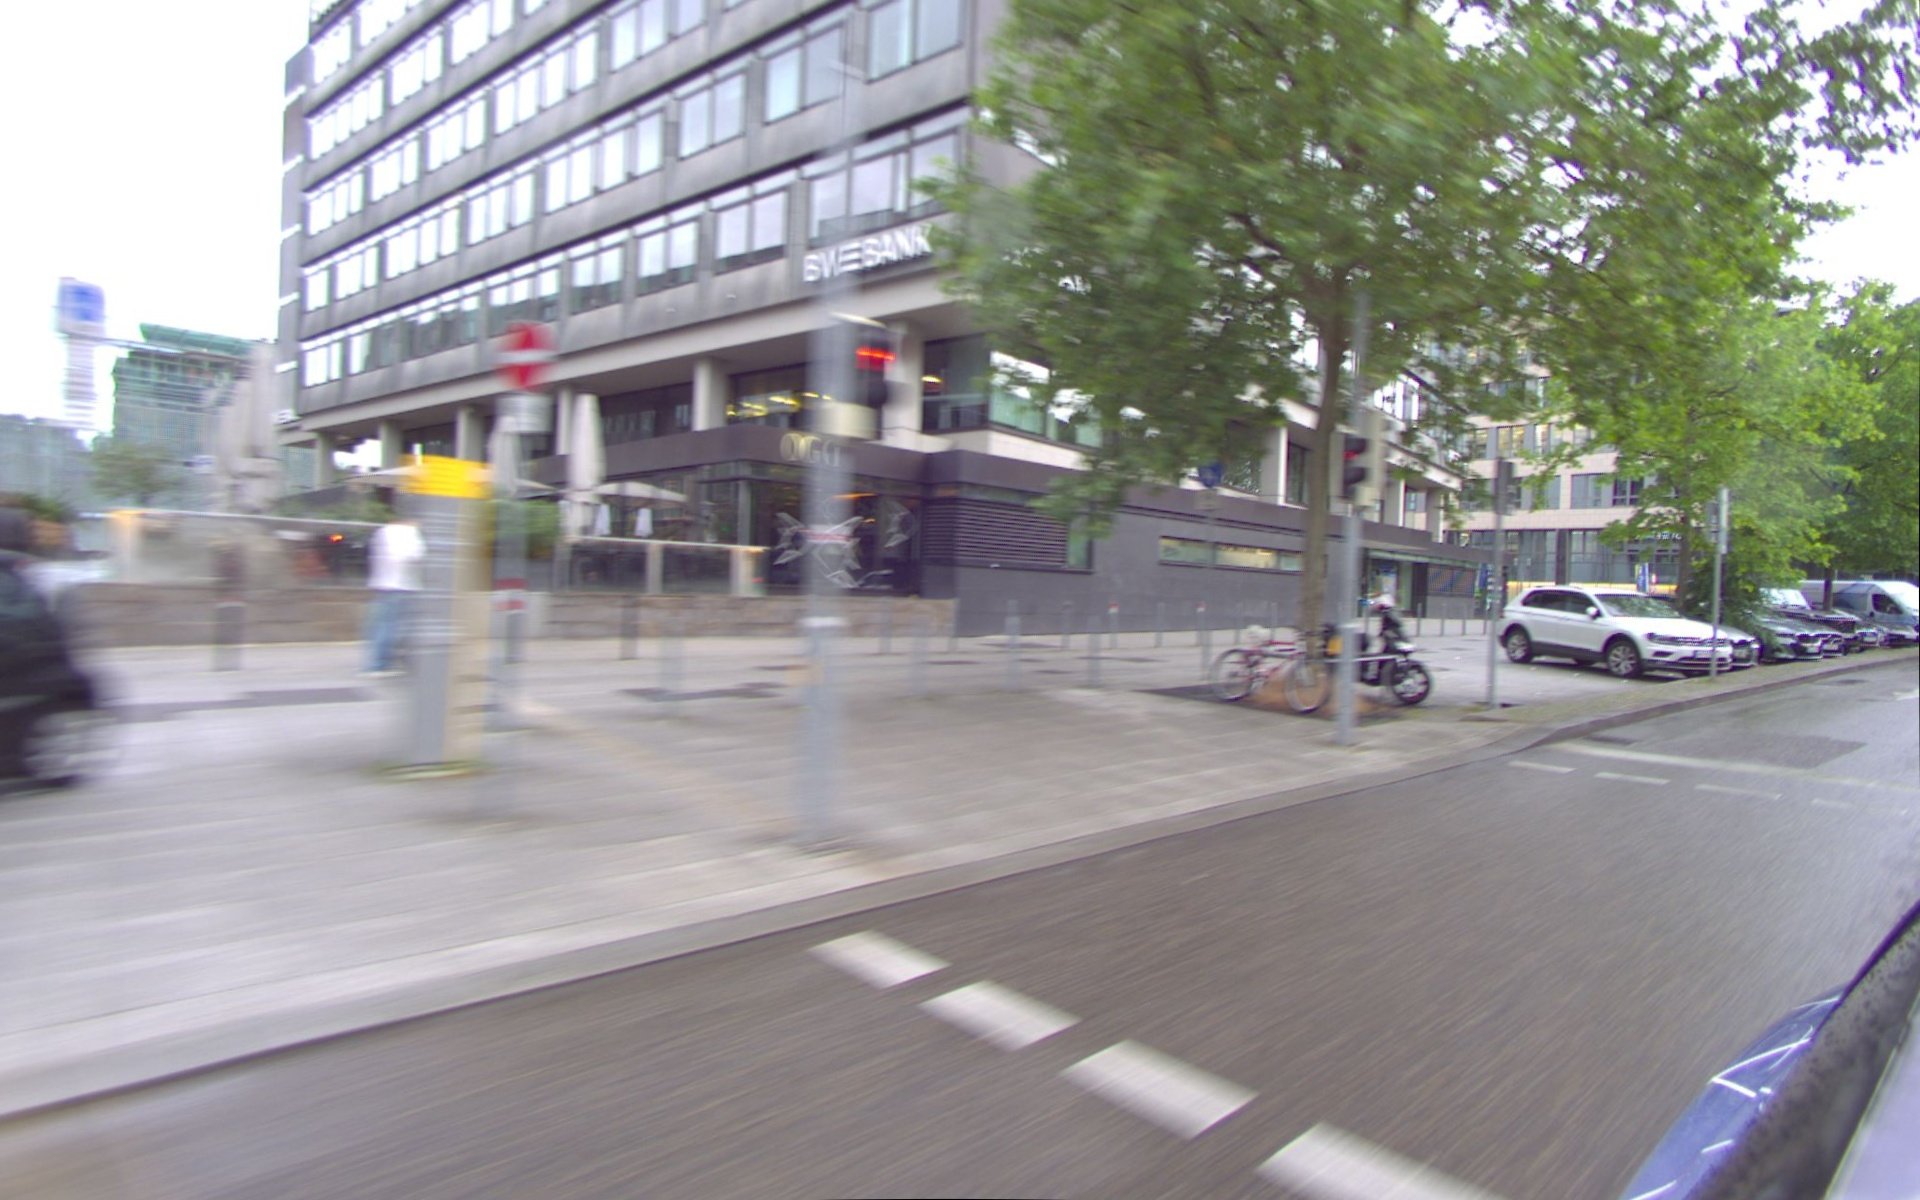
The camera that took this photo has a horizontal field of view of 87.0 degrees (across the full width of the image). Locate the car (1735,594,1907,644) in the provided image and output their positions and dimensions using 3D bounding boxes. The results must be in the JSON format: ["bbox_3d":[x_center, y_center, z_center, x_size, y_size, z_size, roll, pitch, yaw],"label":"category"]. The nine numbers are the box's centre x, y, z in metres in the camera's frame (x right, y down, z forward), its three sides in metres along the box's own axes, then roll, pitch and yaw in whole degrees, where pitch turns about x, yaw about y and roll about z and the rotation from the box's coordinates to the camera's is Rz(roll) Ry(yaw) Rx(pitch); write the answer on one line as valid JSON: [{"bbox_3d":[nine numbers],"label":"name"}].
[{"bbox_3d":[27.405,0.568,32.398,1.673,1.442,4.021,1,1,-11],"label":"car"}]

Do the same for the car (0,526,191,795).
[{"bbox_3d":[-5.903,0.318,4.833,1.604,1.434,3.836,1,1,-1],"label":"car"}]

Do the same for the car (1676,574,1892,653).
[{"bbox_3d":[22.928,0.333,28.434,1.882,2.018,4.527,1,1,-11],"label":"car"}]

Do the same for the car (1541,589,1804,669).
[{"bbox_3d":[15.056,0.544,21.796,1.877,1.492,4.730,1,1,-8],"label":"car"}]

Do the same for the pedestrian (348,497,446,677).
[{"bbox_3d":[-6.250,-0.140,11.226,0.881,1.892,0.804,1,0,-32],"label":"pedestrian"}]

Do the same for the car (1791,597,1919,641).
[{"bbox_3d":[33.055,0.665,36.904,1.673,1.442,4.069,1,1,-11],"label":"car"}]

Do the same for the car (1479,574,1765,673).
[{"bbox_3d":[12.655,0.375,19.821,1.877,1.671,4.813,1,1,-10],"label":"car"}]

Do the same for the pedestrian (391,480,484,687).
[{"bbox_3d":[-5.487,-0.169,10.622,0.738,2.064,0.853,1,0,-34],"label":"pedestrian"}]

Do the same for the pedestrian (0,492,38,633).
[{"bbox_3d":[-12.717,-0.494,13.418,0.669,1.846,0.650,1,0,-40],"label":"pedestrian"}]

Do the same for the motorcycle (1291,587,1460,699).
[{"bbox_3d":[5.550,0.524,13.656,0.664,1.374,2.091,1,0,-32],"label":"motorcycle"}]

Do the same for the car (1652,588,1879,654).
[{"bbox_3d":[20.868,0.490,26.478,1.876,1.557,4.400,1,1,-13],"label":"car"}]

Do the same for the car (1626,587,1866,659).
[{"bbox_3d":[18.880,0.487,24.589,1.876,1.557,4.367,1,1,-13],"label":"car"}]

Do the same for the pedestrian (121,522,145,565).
[{"bbox_3d":[-36.645,-2.506,44.852,0.573,1.862,0.650,2,1,31],"label":"pedestrian"}]

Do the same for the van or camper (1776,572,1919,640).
[{"bbox_3d":[35.735,0.190,39.326,2.267,2.478,6.277,1,1,-10],"label":"van or camper"}]

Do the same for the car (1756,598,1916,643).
[{"bbox_3d":[30.864,0.691,35.825,1.673,1.442,4.069,1,1,-11],"label":"car"}]
